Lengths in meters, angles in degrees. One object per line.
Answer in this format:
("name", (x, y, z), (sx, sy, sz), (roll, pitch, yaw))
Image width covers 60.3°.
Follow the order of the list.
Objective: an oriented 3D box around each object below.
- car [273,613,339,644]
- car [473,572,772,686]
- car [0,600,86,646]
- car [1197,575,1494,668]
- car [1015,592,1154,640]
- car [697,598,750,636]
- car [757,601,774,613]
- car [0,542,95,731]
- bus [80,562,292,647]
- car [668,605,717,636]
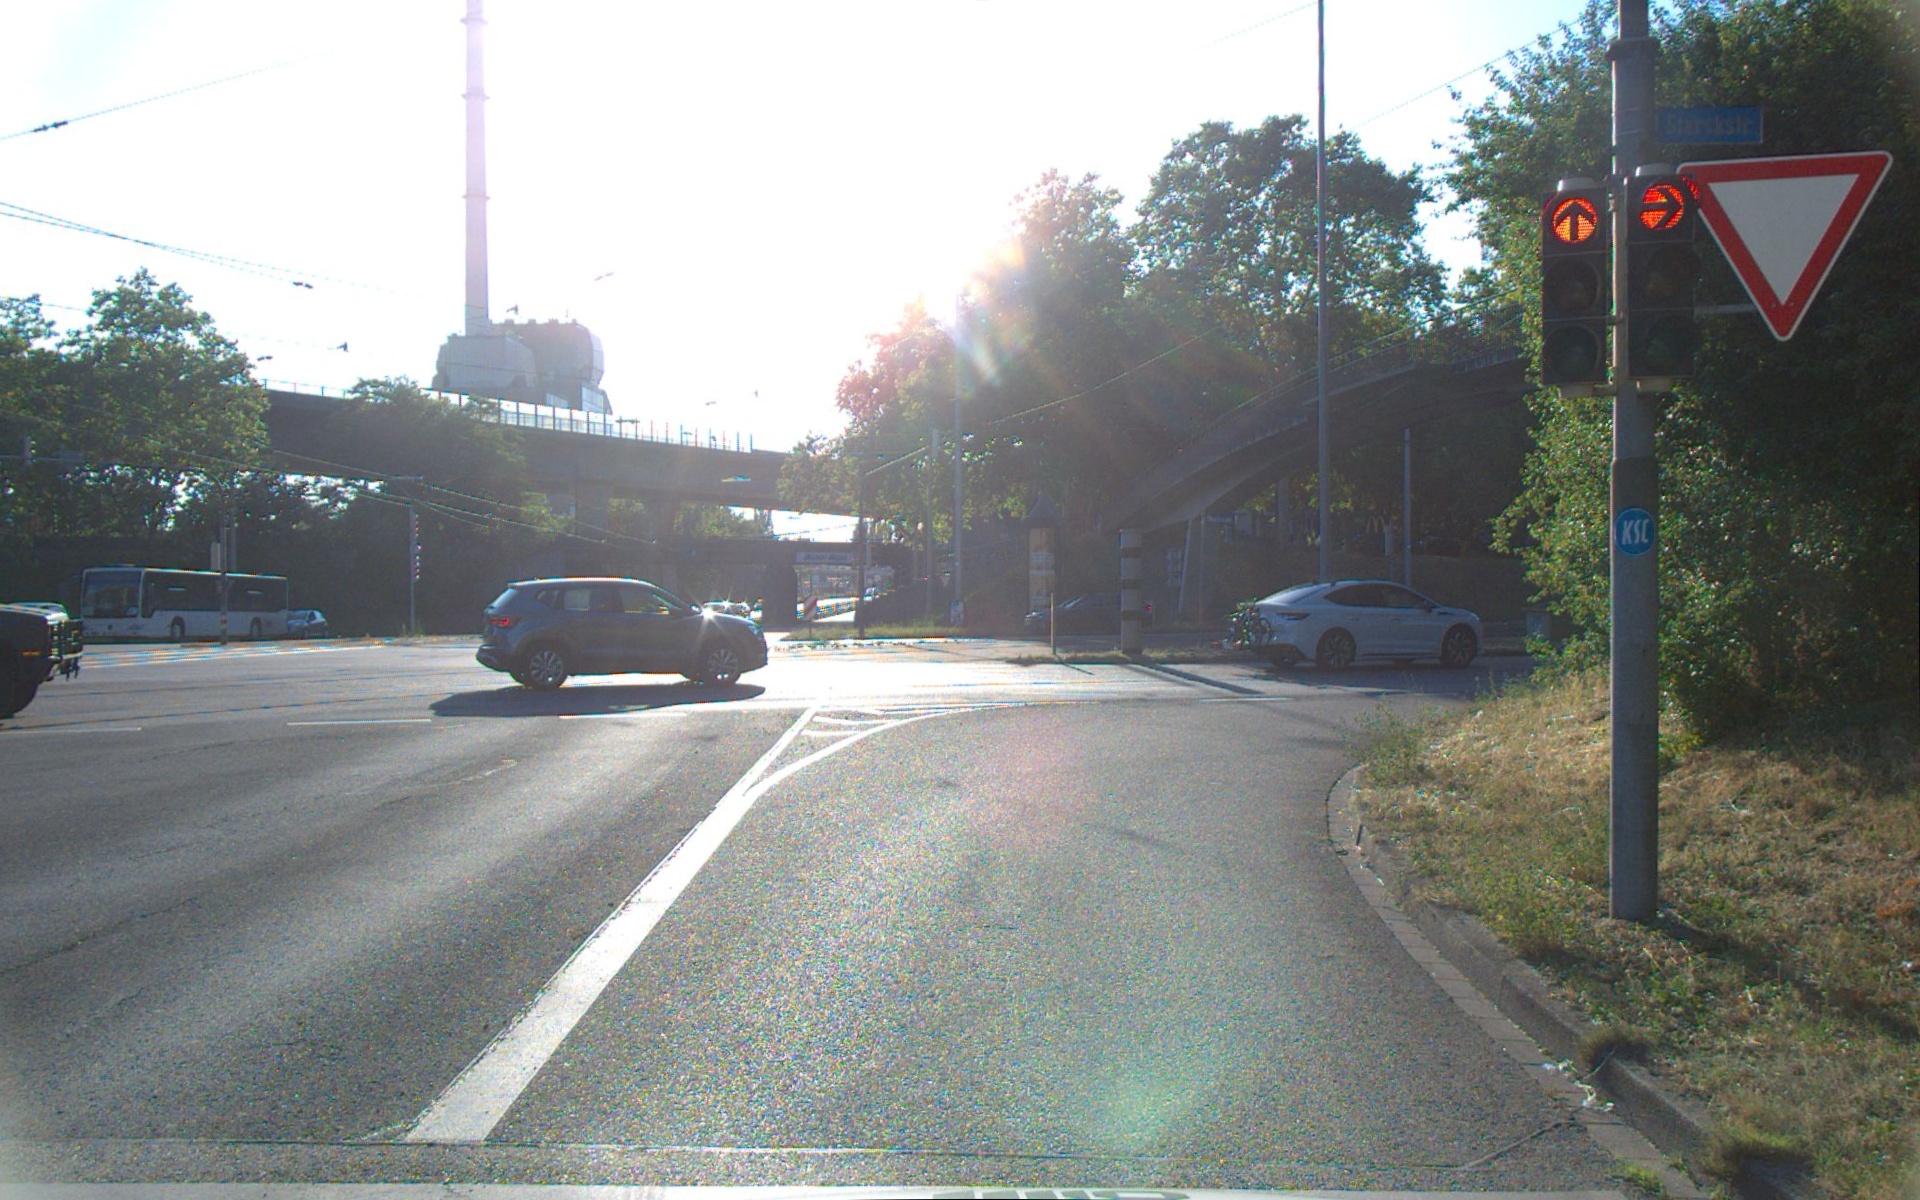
("car", (-31.701, 1.372, 80.266), (1.573, 1.444, 4.008), (1, 0, 1))
("car", (-5.072, 0.420, 24.888), (4.177, 1.602, 1.682), (0, 0, -23))
("car", (-32.171, 0.779, 57.483), (1.574, 1.538, 4.006), (1, 0, -3))
("car", (7.055, 0.379, 30.212), (5.274, 1.602, 1.729), (0, 0, -22))
("car", (4.304, 0.549, 57.147), (4.505, 1.602, 1.685), (1, 0, -18))
("car", (-9.375, 0.643, 65.716), (1.632, 1.429, 4.195), (1, 0, -2))
("car", (-24.888, 0.894, 211.498), (1.573, 1.444, 4.008), (1, 0, 1))
("car", (-12.266, 0.382, 17.991), (4.860, 2.026, 2.023), (0, 0, -23))
("bus", (-32.007, 0.307, 69.311), (2.491, 3.185, 12.919), (-1, -1, 2))
("car", (-12.863, 0.966, 79.607), (1.631, 1.429, 4.445), (1, 0, 0))
